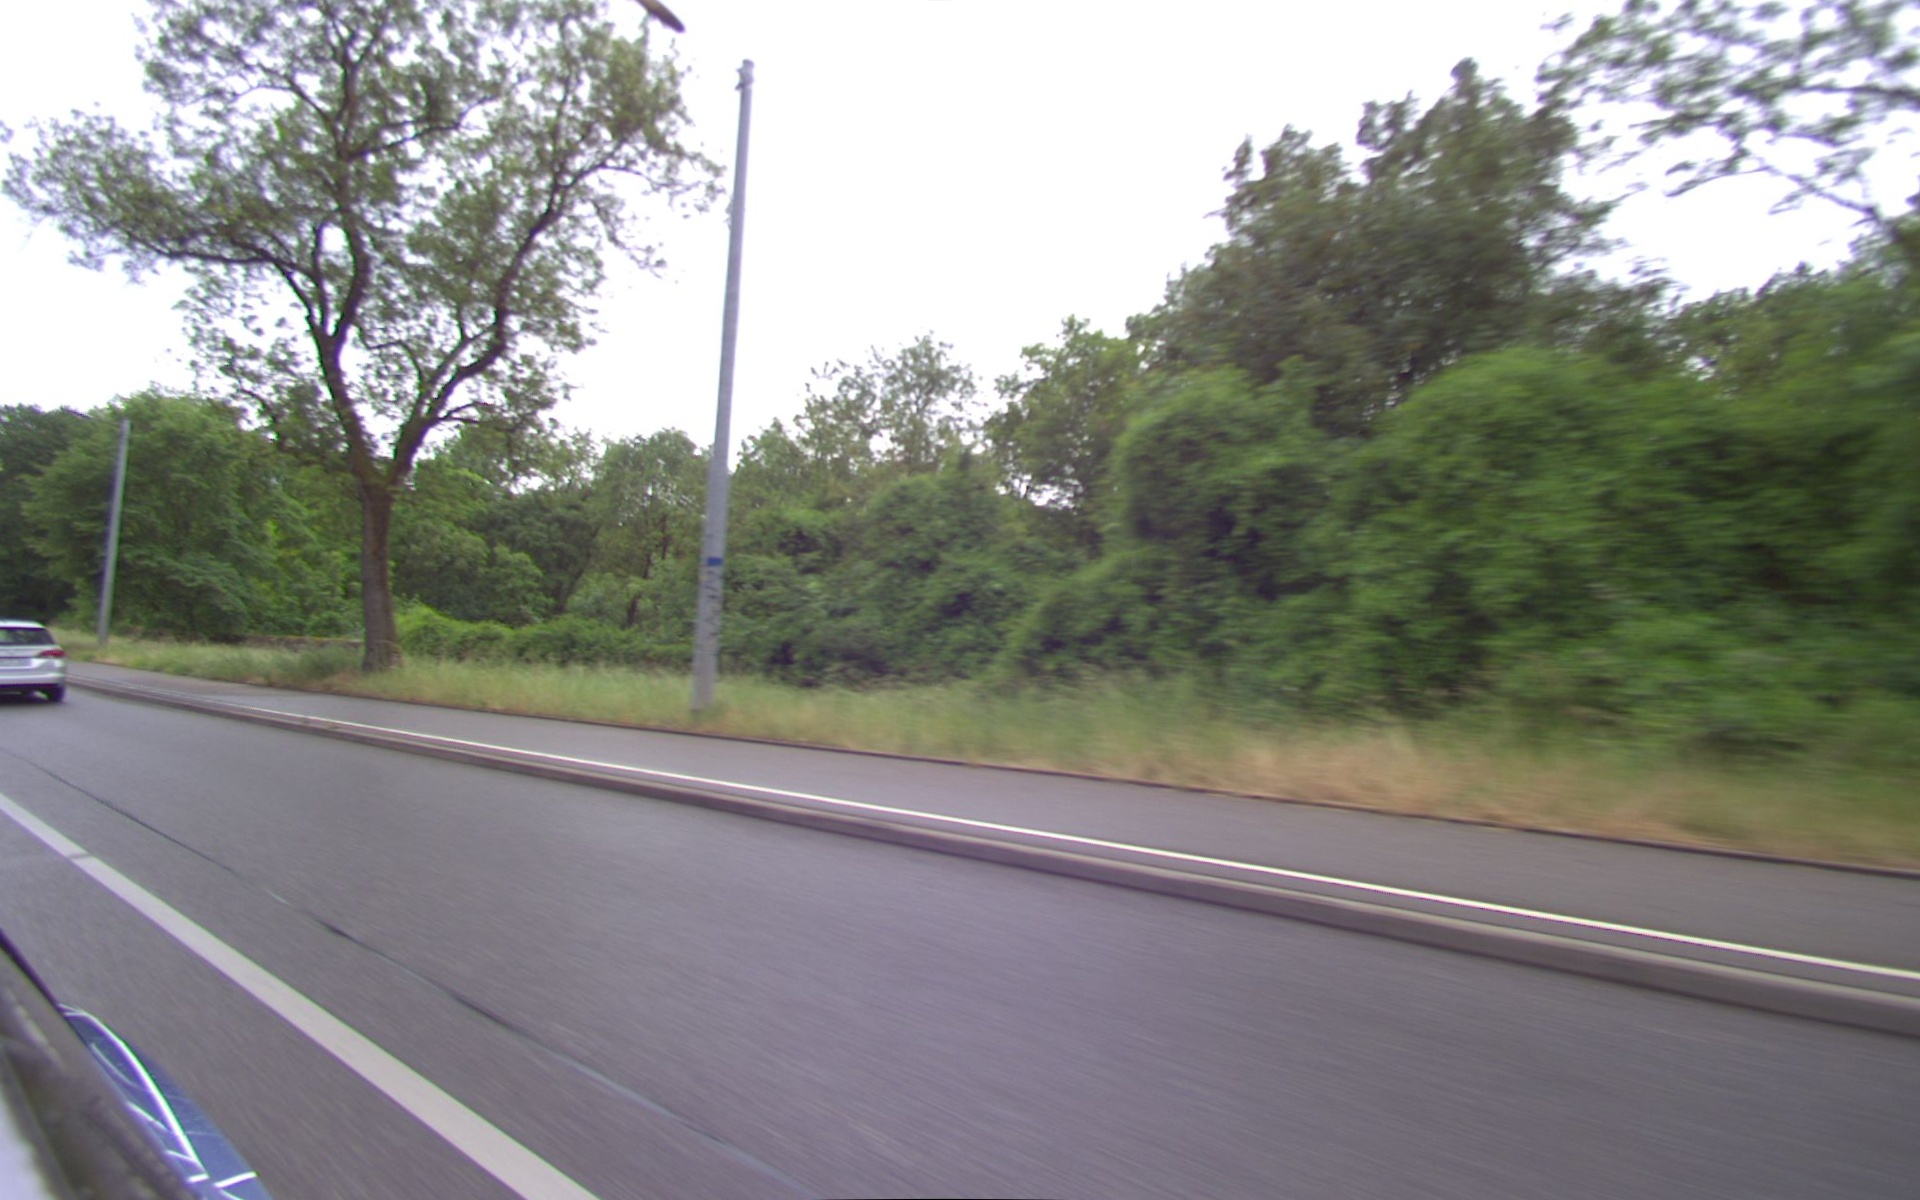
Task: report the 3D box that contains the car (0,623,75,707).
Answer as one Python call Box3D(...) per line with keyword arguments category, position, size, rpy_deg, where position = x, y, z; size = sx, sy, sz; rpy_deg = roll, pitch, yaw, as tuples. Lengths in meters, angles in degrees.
Box3D(category="car", position=(-17.998, 1.155, 18.658), size=(4.469, 1.441, 1.763), rpy_deg=(-2, -3, 39))
